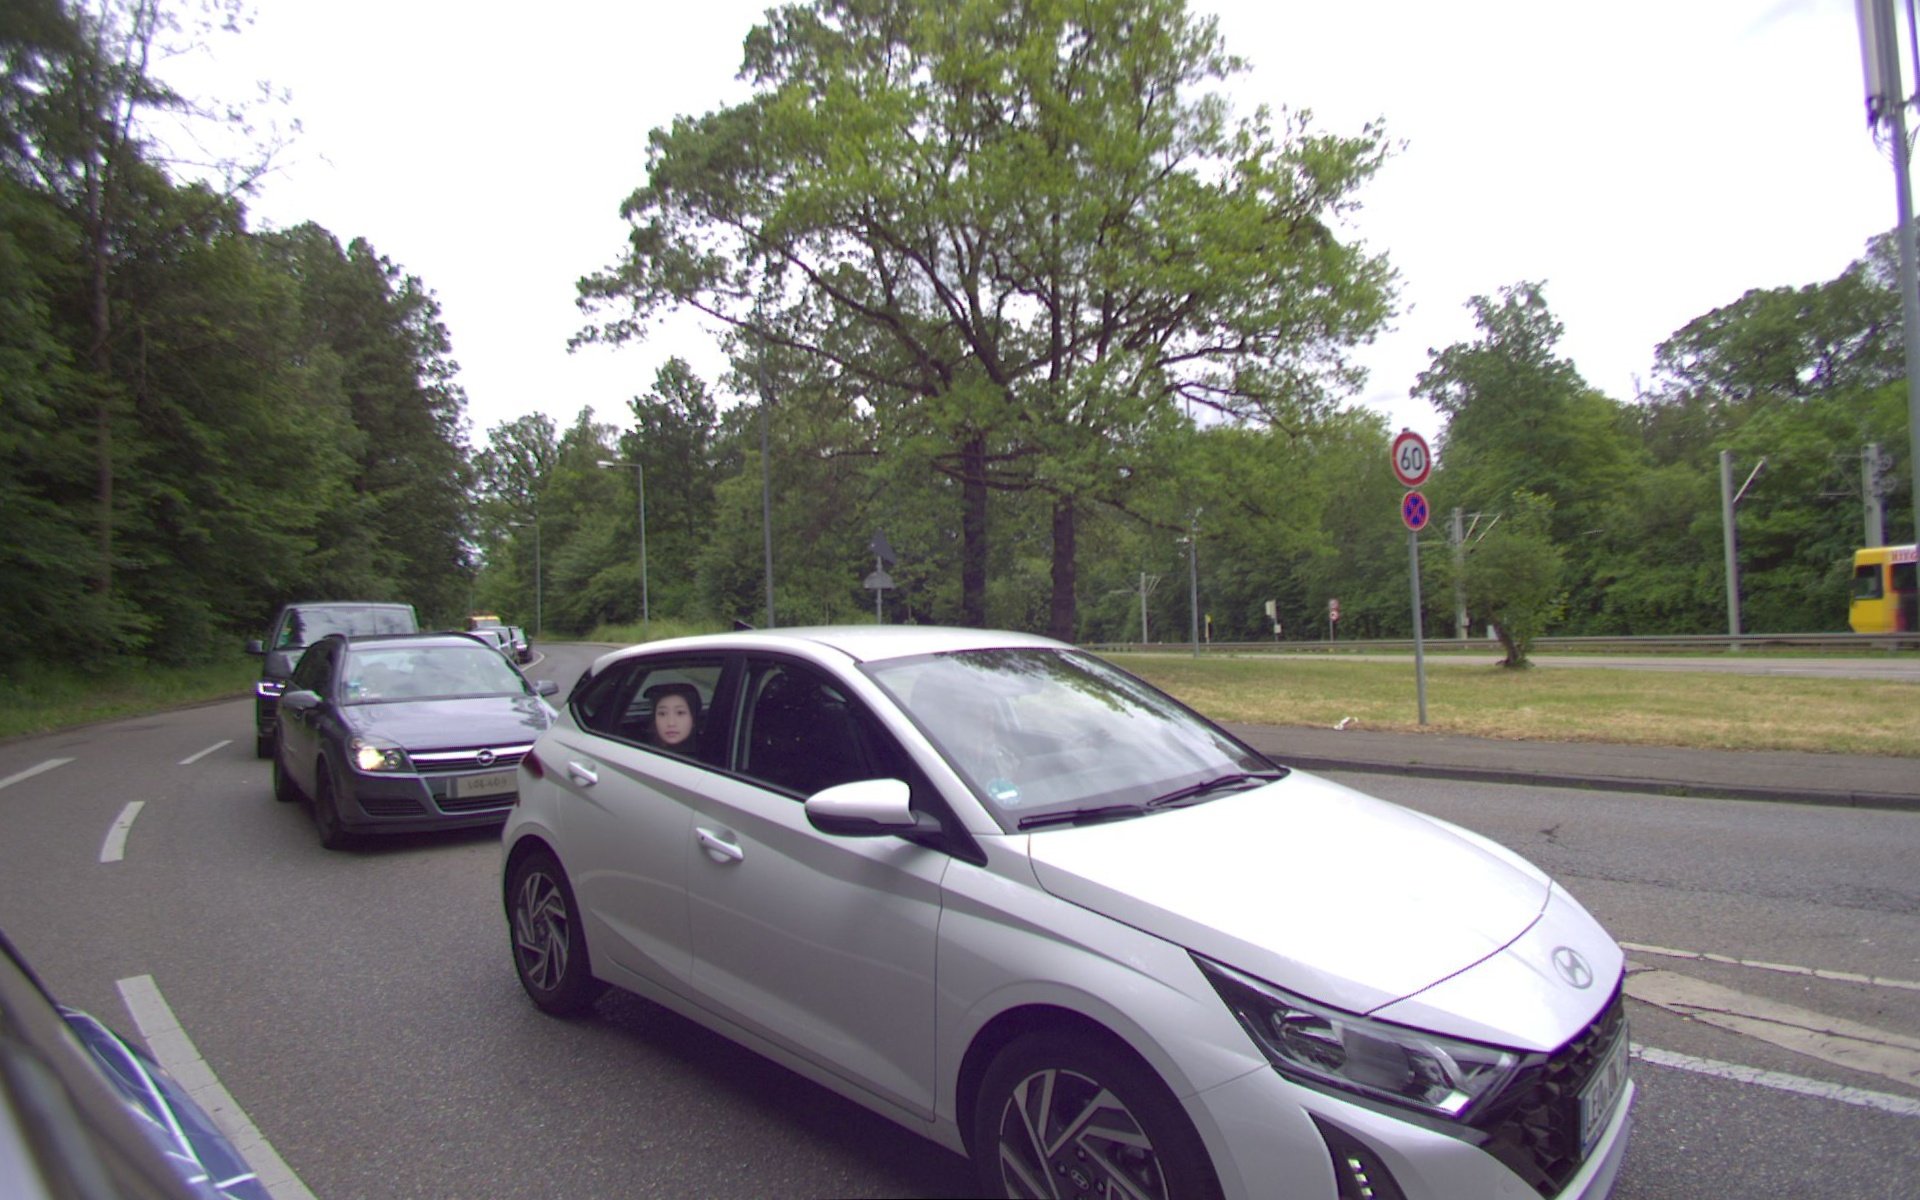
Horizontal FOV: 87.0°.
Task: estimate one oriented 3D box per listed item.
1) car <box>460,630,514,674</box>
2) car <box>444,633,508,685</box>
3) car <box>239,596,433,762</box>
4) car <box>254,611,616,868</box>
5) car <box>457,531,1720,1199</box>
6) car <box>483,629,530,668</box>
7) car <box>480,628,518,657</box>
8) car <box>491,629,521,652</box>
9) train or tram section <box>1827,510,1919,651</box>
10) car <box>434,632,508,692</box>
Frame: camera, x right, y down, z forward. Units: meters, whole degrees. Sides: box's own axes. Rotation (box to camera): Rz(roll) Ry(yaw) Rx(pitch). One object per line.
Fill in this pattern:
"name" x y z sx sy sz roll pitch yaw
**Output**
"car" -17.828 1.928 38.216 1.748 1.511 3.885 0 -2 -25
"car" -15.387 1.841 32.258 1.748 1.511 3.885 0 -2 -25
"car" -8.439 0.974 13.965 1.957 1.887 4.545 0 -2 -29
"car" -4.502 0.904 8.259 1.775 1.490 4.478 0 -2 -39
"car" -0.075 0.721 3.446 4.073 1.490 1.631 -3 -2 43
"car" -19.377 2.046 43.165 1.748 1.511 3.885 0 -2 -25
"car" -25.392 2.326 55.808 1.749 1.511 3.885 -1 -2 -22
"car" -31.809 2.828 71.017 1.749 1.511 3.885 -1 -2 -22
"train or tram section" 33.093 -0.652 25.813 2.917 4.451 18.774 -1 0 -12
"car" -13.678 1.696 28.425 1.748 1.511 3.885 0 -2 -25
